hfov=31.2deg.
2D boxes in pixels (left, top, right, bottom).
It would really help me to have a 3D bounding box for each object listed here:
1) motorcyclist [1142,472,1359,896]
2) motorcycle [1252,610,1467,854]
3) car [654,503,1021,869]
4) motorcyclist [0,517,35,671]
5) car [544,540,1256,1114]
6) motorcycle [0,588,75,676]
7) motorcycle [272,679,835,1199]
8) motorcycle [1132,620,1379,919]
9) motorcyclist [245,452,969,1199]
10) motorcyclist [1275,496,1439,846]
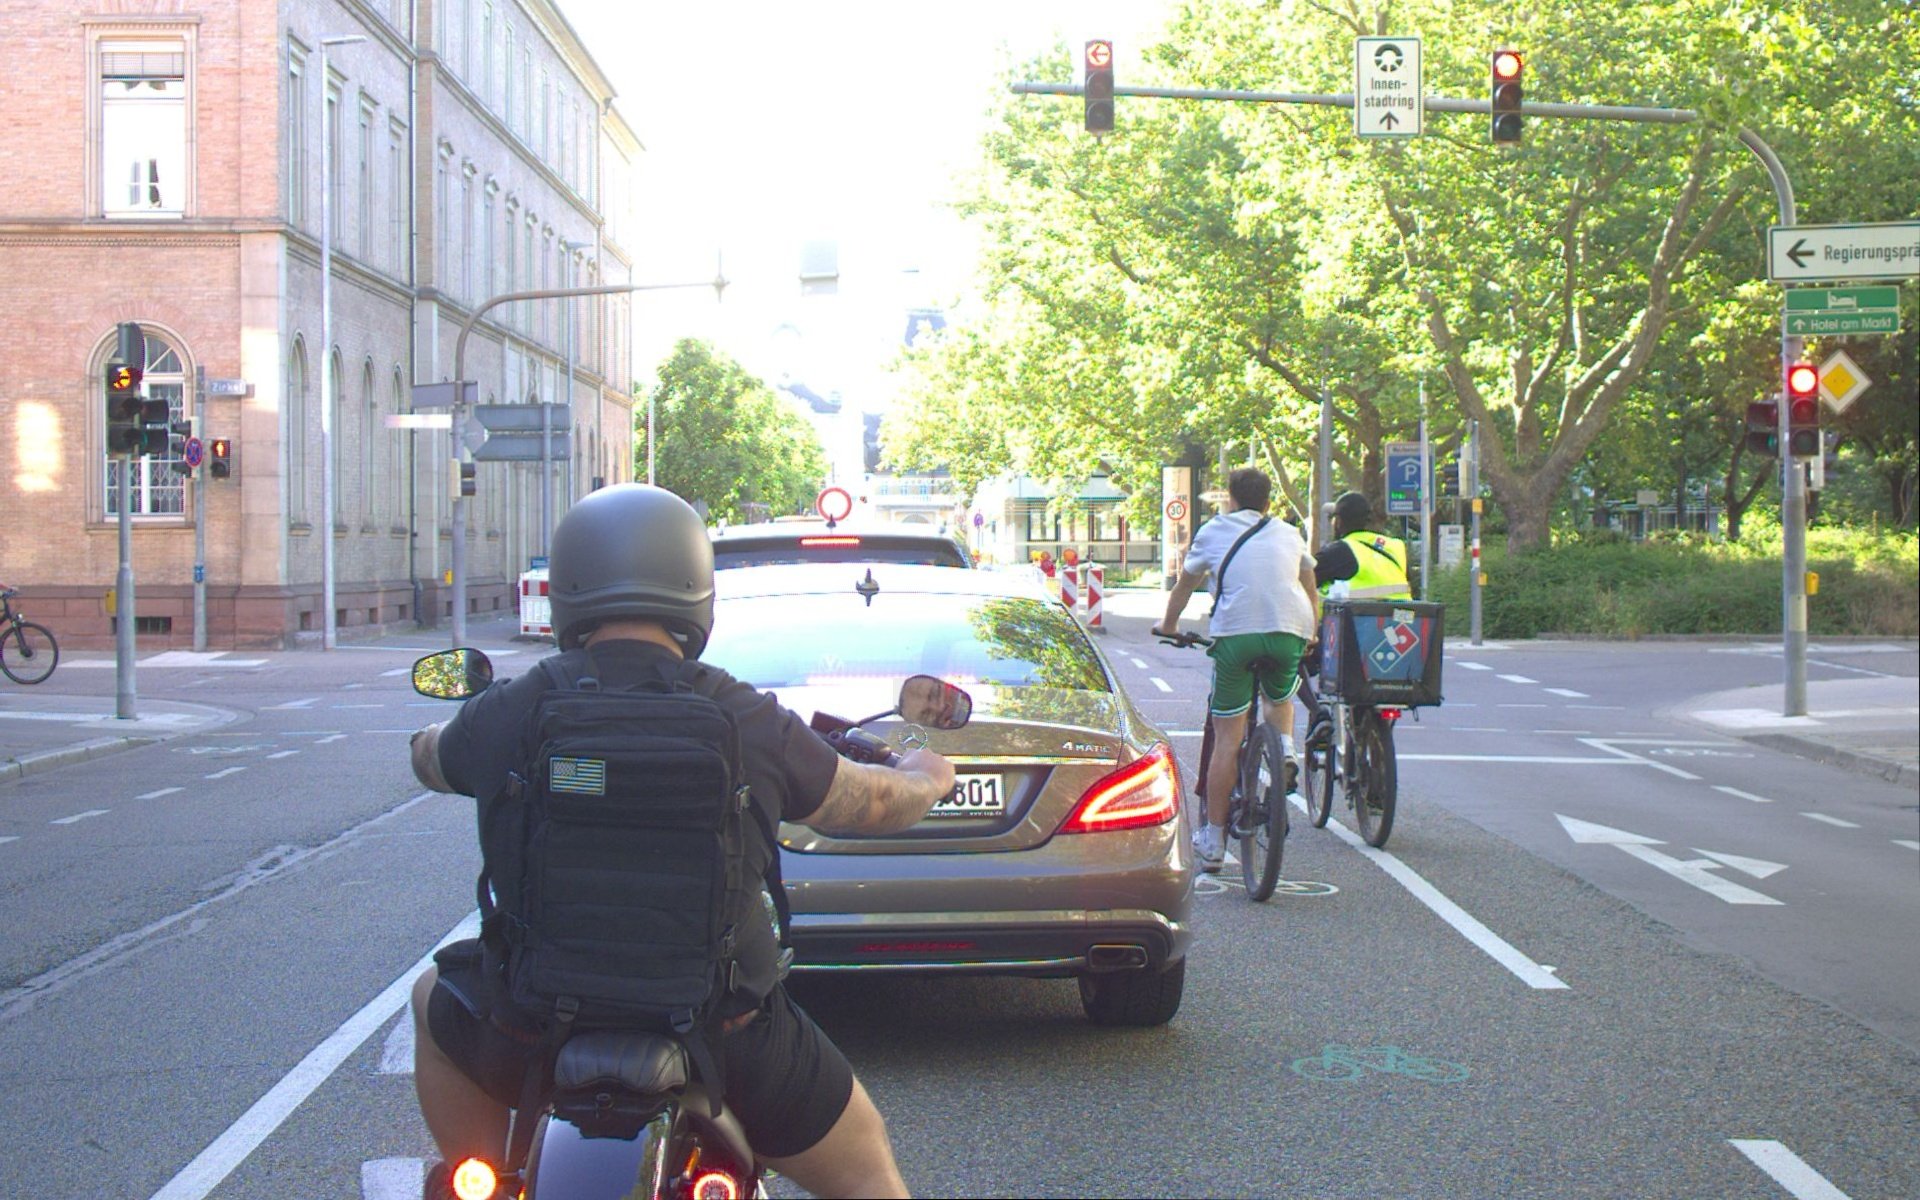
[{"bbox_3d":[1.253,0.351,14.999,0.831,1.782,0.913,1,0,-1],"label":"motorcyclist"},{"bbox_3d":[2.009,0.636,17.584,0.797,1.128,2.236,1,1,-1],"label":"motorcycle"},{"bbox_3d":[-0.578,0.372,17.689,1.651,1.646,4.000,1,1,-1],"label":"car"},{"bbox_3d":[-10.974,-0.079,38.616,0.985,1.716,0.550,1,0,4],"label":"motorcyclist"},{"bbox_3d":[-0.406,0.571,11.129,1.824,1.481,4.334,1,1,-7],"label":"car"},{"bbox_3d":[-11.031,0.350,38.623,2.012,0.958,0.580,1,0,4],"label":"motorcycle"},{"bbox_3d":[-0.562,0.780,5.423,0.660,1.236,2.058,1,1,-1],"label":"motorcycle"},{"bbox_3d":[1.239,0.691,14.840,0.863,1.164,1.930,1,1,-1],"label":"motorcycle"},{"bbox_3d":[-0.500,0.598,5.329,0.990,1.605,1.120,1,0,-1],"label":"motorcyclist"},{"bbox_3d":[2.013,0.350,17.526,0.717,1.737,0.751,1,0,-1],"label":"motorcyclist"}]
